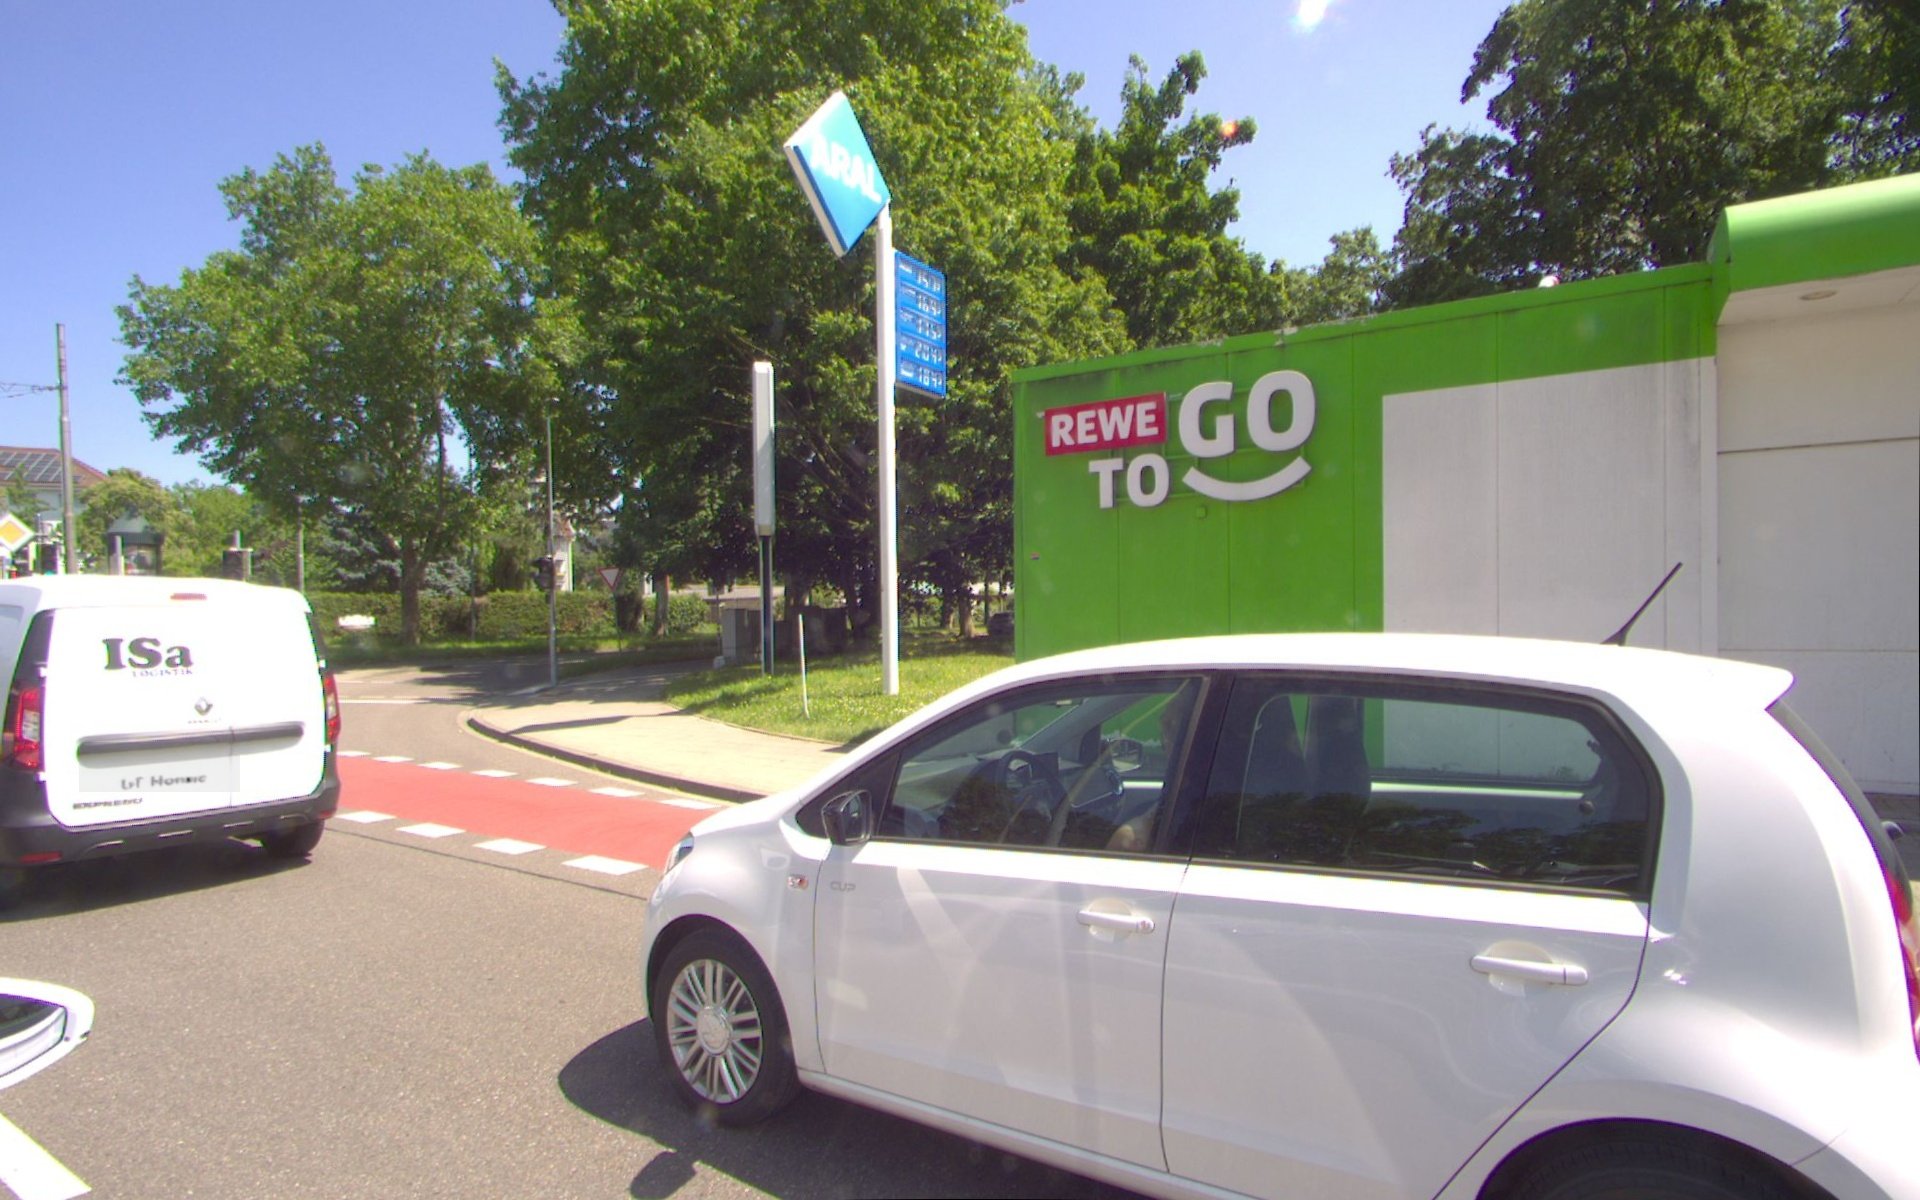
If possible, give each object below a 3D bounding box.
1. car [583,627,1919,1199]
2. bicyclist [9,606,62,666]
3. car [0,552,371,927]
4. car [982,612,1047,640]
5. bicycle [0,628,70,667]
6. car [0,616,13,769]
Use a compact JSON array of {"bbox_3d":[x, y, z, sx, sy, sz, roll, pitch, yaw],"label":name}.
[{"bbox_3d":[0.641,0.834,2.982,3.387,1.466,1.606,0,-1,33],"label":"car"},{"bbox_3d":[-28.616,1.110,30.994,0.714,1.811,0.974,-1,0,20],"label":"bicyclist"},{"bbox_3d":[-5.880,0.731,6.640,4.005,1.811,1.725,-1,-2,31],"label":"car"},{"bbox_3d":[3.176,1.485,58.011,1.733,1.539,3.968,-2,-1,41],"label":"car"},{"bbox_3d":[-28.652,1.457,30.973,1.922,1.174,0.893,-1,0,20],"label":"bicycle"},{"bbox_3d":[-12.026,0.942,10.717,3.943,1.589,1.832,0,-1,32],"label":"car"}]
